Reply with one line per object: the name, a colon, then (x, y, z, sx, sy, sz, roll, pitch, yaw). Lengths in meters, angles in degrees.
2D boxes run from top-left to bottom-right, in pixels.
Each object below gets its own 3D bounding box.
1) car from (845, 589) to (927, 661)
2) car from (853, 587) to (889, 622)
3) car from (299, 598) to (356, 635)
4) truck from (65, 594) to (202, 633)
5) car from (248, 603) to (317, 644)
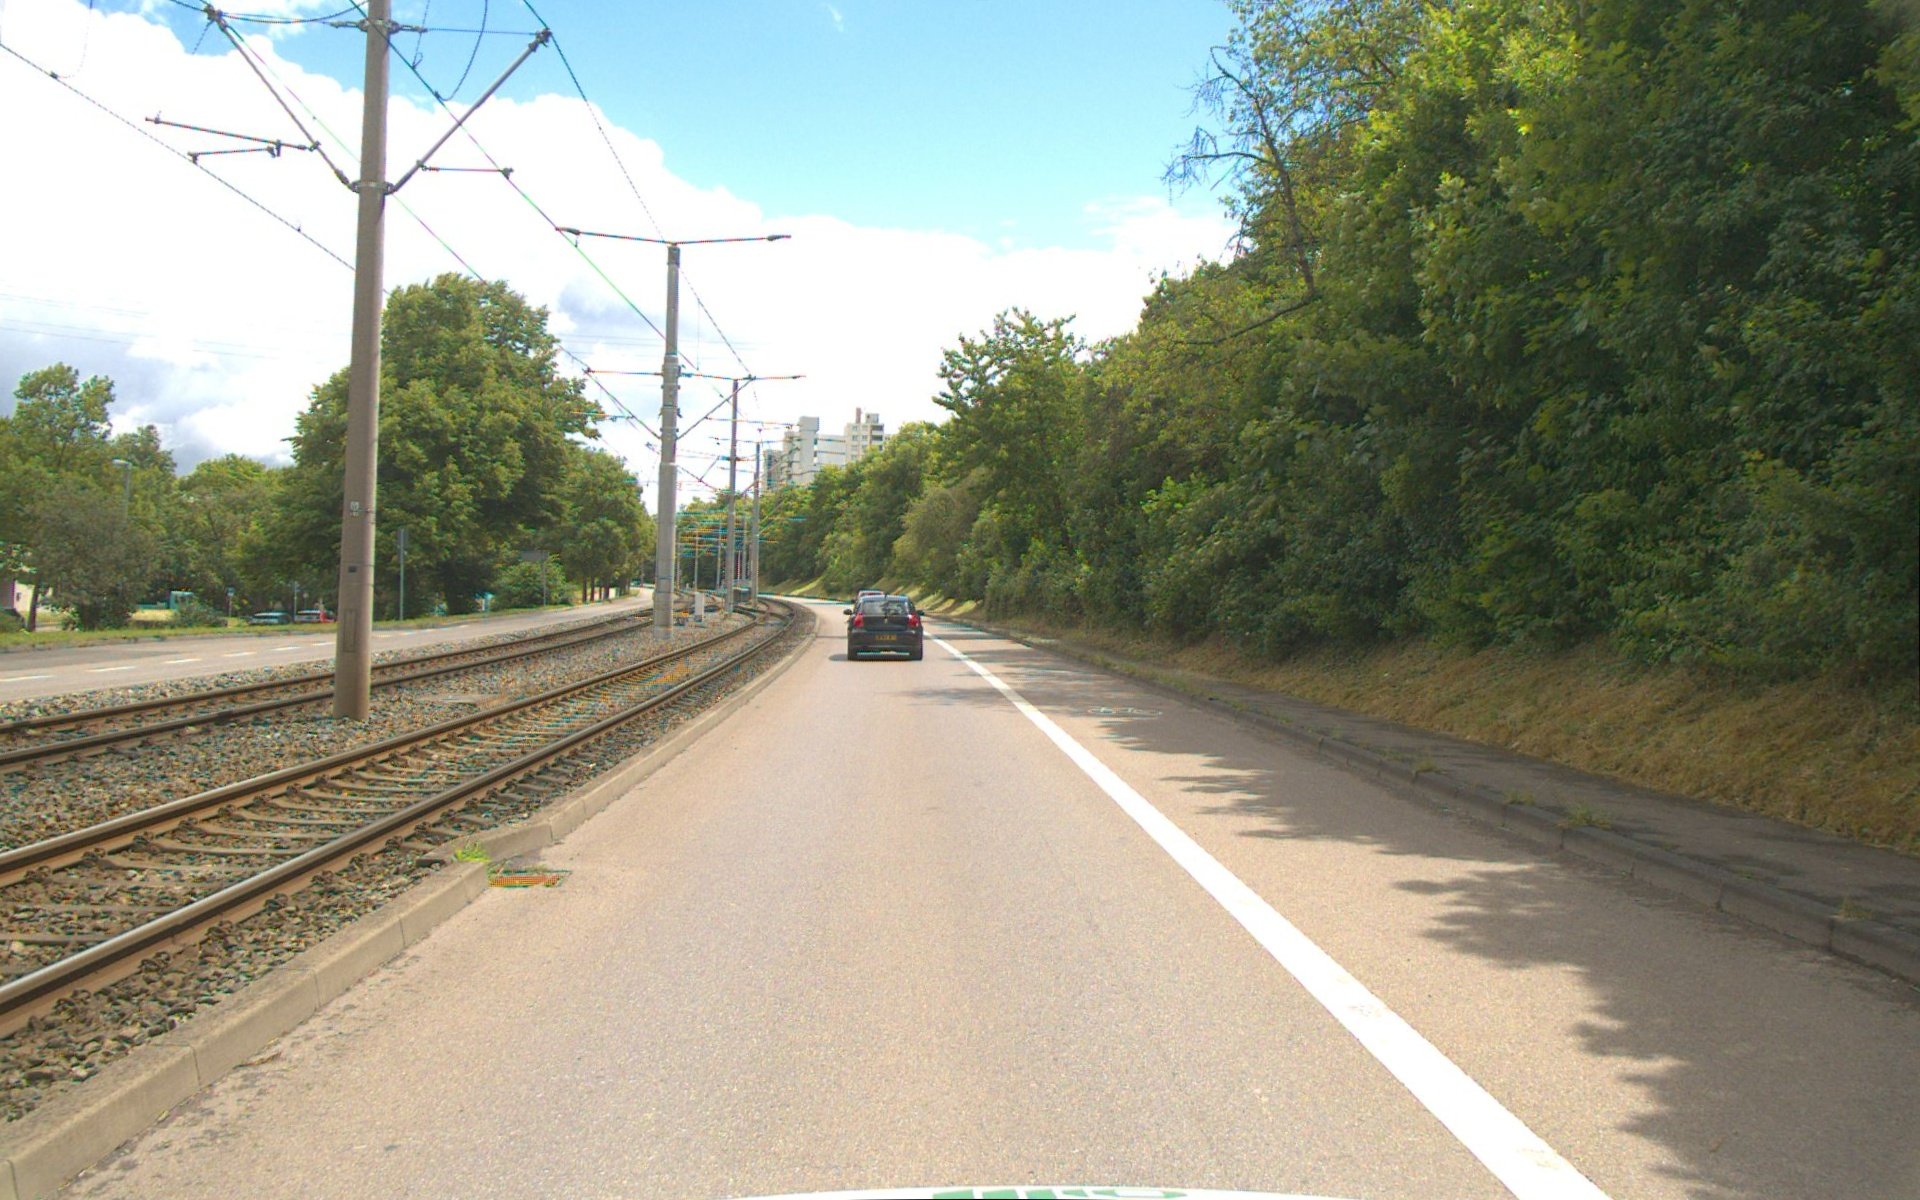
car: (-1.639, 0.561, 37.775, 1.674, 1.486, 3.959, 3, -1, -1)
car: (-4.092, 0.219, 76.403, 1.592, 1.469, 3.419, 3, -2, -3)
car: (-32.280, 0.833, 84.531, 1.781, 1.803, 3.995, 0, 1, -6)
truck: (-61.516, 0.976, 123.362, 8.968, 2.742, 2.596, -1, 0, -23)
car: (-31.600, 1.066, 77.238, 1.780, 1.803, 3.998, 0, 1, -3)
